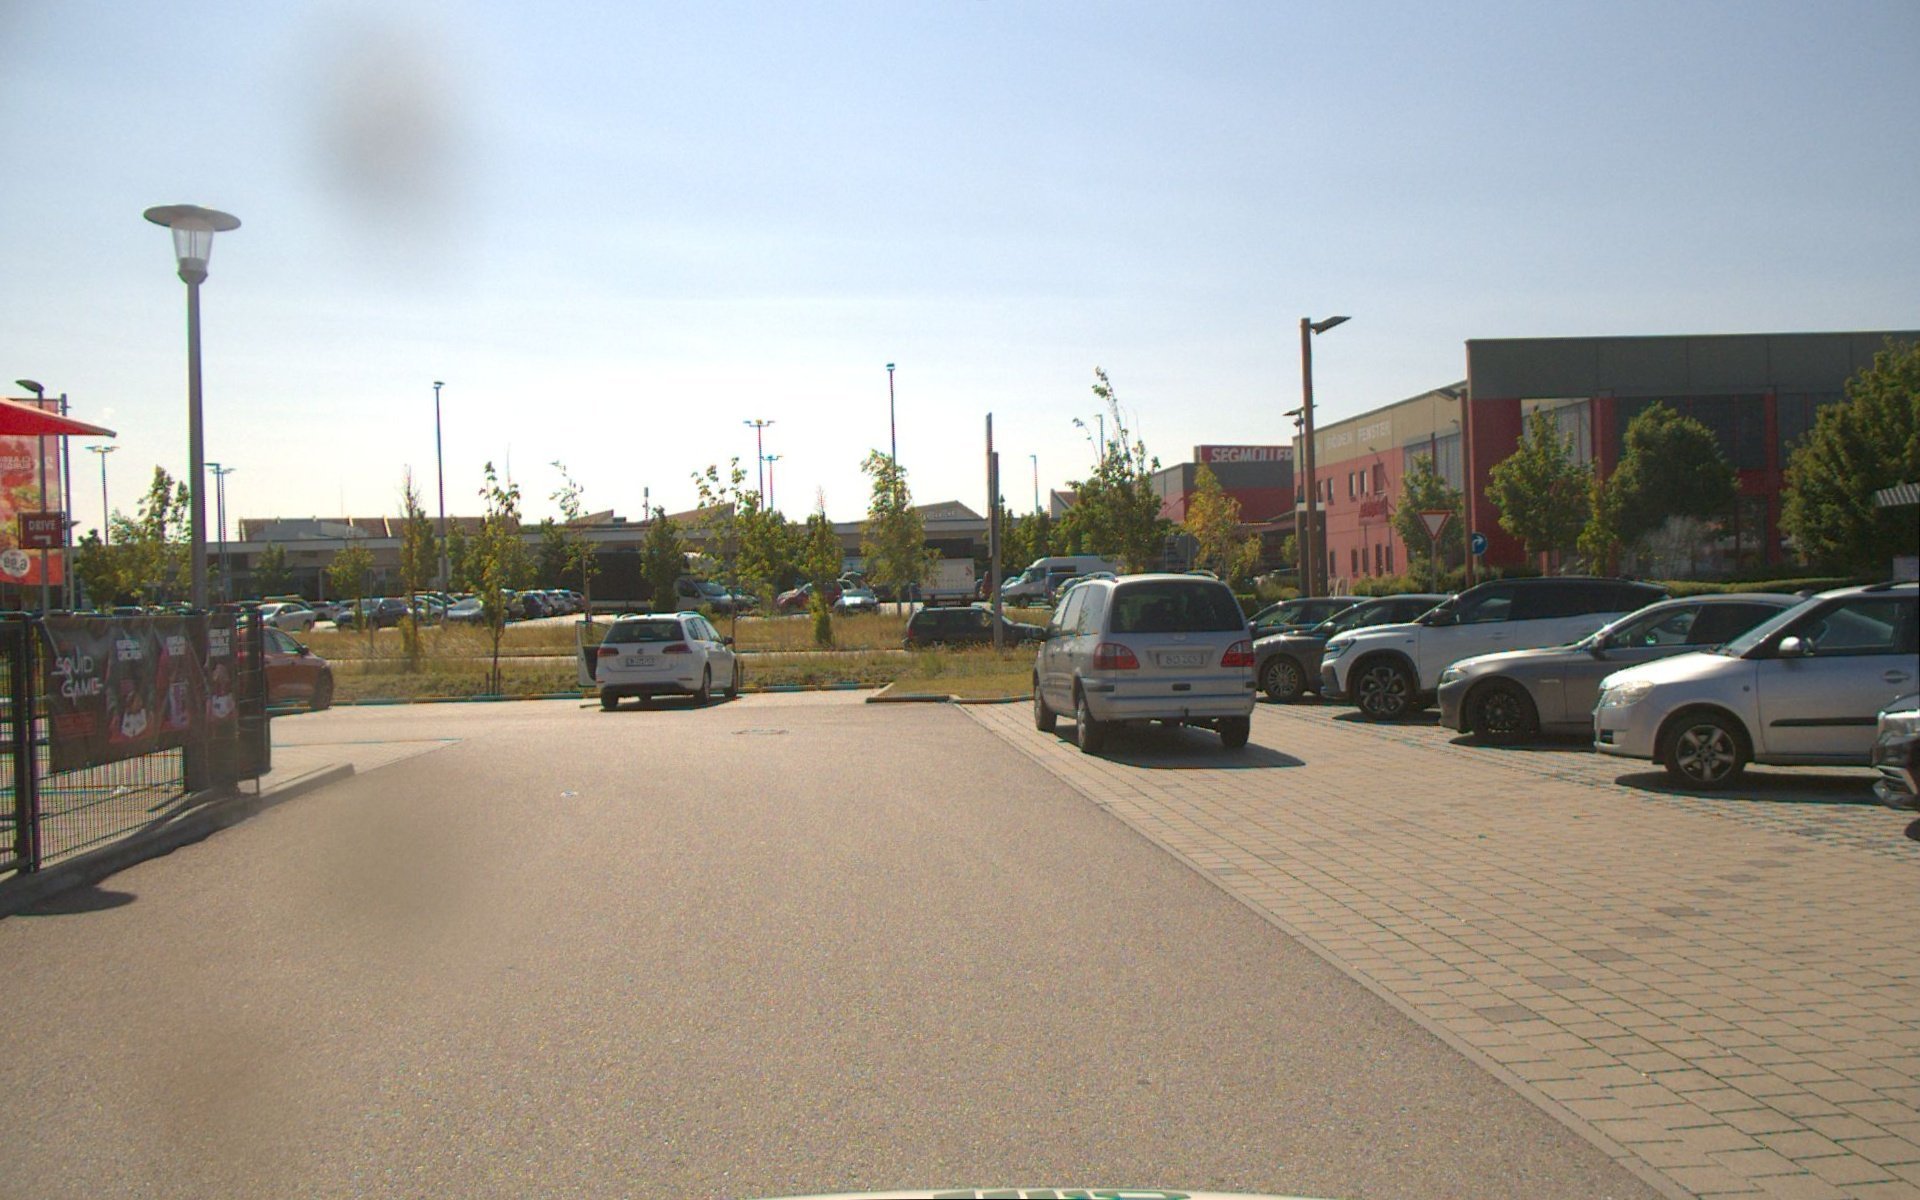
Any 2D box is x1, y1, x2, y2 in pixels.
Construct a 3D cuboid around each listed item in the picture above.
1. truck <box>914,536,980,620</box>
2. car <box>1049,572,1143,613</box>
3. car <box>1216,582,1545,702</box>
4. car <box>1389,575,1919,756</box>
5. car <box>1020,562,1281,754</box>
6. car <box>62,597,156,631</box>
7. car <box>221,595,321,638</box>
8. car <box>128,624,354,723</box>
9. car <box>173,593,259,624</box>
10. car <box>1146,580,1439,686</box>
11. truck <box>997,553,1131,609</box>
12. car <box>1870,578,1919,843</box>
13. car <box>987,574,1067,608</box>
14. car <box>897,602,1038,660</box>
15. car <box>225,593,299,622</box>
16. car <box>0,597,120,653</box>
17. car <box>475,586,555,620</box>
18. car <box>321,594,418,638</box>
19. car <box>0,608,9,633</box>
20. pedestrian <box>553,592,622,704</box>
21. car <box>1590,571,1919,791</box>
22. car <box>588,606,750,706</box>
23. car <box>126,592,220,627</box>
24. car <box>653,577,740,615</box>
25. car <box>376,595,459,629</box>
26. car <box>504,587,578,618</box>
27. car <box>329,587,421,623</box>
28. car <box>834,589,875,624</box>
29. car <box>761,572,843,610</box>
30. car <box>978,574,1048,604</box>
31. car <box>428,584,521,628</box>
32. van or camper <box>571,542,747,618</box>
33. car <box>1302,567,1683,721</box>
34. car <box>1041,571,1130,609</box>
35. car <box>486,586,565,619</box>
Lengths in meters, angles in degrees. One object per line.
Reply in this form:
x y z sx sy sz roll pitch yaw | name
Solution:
-0.579 -0.946 73.318 2.703 3.541 6.831 -1 0 -1 | truck
6.616 -0.350 80.692 4.306 1.888 1.953 -1 0 -7 | car
5.914 0.564 23.353 4.116 1.553 1.971 -1 0 31 | car
6.863 0.579 16.264 4.743 1.553 1.971 -1 0 32 | car
1.917 0.551 18.127 1.792 1.779 4.676 -2 0 -7 | car
-54.199 0.856 105.414 4.827 2.049 2.077 -1 0 -11 | car
-31.993 0.760 76.919 1.951 1.888 4.289 -1 0 17 | car
-12.097 1.188 28.165 1.789 1.495 4.354 -2 -1 2 | car
-46.564 0.526 103.581 4.471 1.888 1.953 -1 0 -7 | car
5.369 0.510 26.913 4.249 1.553 1.967 -1 1 38 | car
5.531 -1.003 88.374 6.900 2.863 1.953 -1 0 -7 | truck
7.752 0.594 9.010 4.688 1.512 1.968 -1 0 36 | car
3.848 -0.518 95.456 4.306 1.888 1.953 -1 0 -7 | car
0.195 0.858 46.873 3.907 1.522 1.676 -1 0 -2 | car
-48.956 0.507 116.084 4.306 1.888 1.953 -1 0 -7 | car
-31.269 0.838 55.452 5.102 1.761 1.988 -1 0 -3 | car
-26.222 0.177 97.548 4.306 1.888 1.953 -1 0 -7 | car
-27.095 0.720 76.049 1.908 1.888 4.407 -1 0 17 | car
-63.953 1.360 107.452 3.403 1.579 1.662 -1 0 -12 | car
-6.340 0.811 28.182 0.971 1.841 0.726 -2 -1 -2 | pedestrian
7.058 0.563 12.630 4.109 1.553 1.975 -1 0 24 | car
-4.767 0.897 27.726 1.789 1.495 4.482 -2 -1 1 | car
-45.562 0.546 95.804 4.471 1.888 1.953 -1 0 -7 | car
-14.940 -0.240 93.803 4.827 2.049 2.077 -1 0 -11 | car
-32.017 0.697 97.730 4.306 1.888 1.953 -1 0 -7 | car
-26.782 0.146 105.846 4.306 1.888 1.953 -1 0 -7 | car
-31.631 0.263 89.498 4.306 1.888 1.953 -1 0 -7 | car
-4.680 0.253 73.627 1.616 1.485 3.965 -1 0 -1 | car
-8.236 -0.482 86.198 4.172 1.888 1.867 -1 0 -7 | car
3.447 -0.702 107.887 4.306 1.888 1.953 -1 0 -7 | car
-21.881 0.264 74.757 1.908 1.888 4.407 -1 0 17 | car
-13.417 -0.860 73.502 7.874 3.156 2.416 -1 0 28 | van or camper
6.406 0.502 19.929 4.111 1.683 1.973 -1 0 27 | car
6.489 -0.520 85.737 4.306 1.888 1.953 -1 0 -7 | car
-26.234 0.165 99.910 4.306 1.888 1.953 -1 0 -7 | car
